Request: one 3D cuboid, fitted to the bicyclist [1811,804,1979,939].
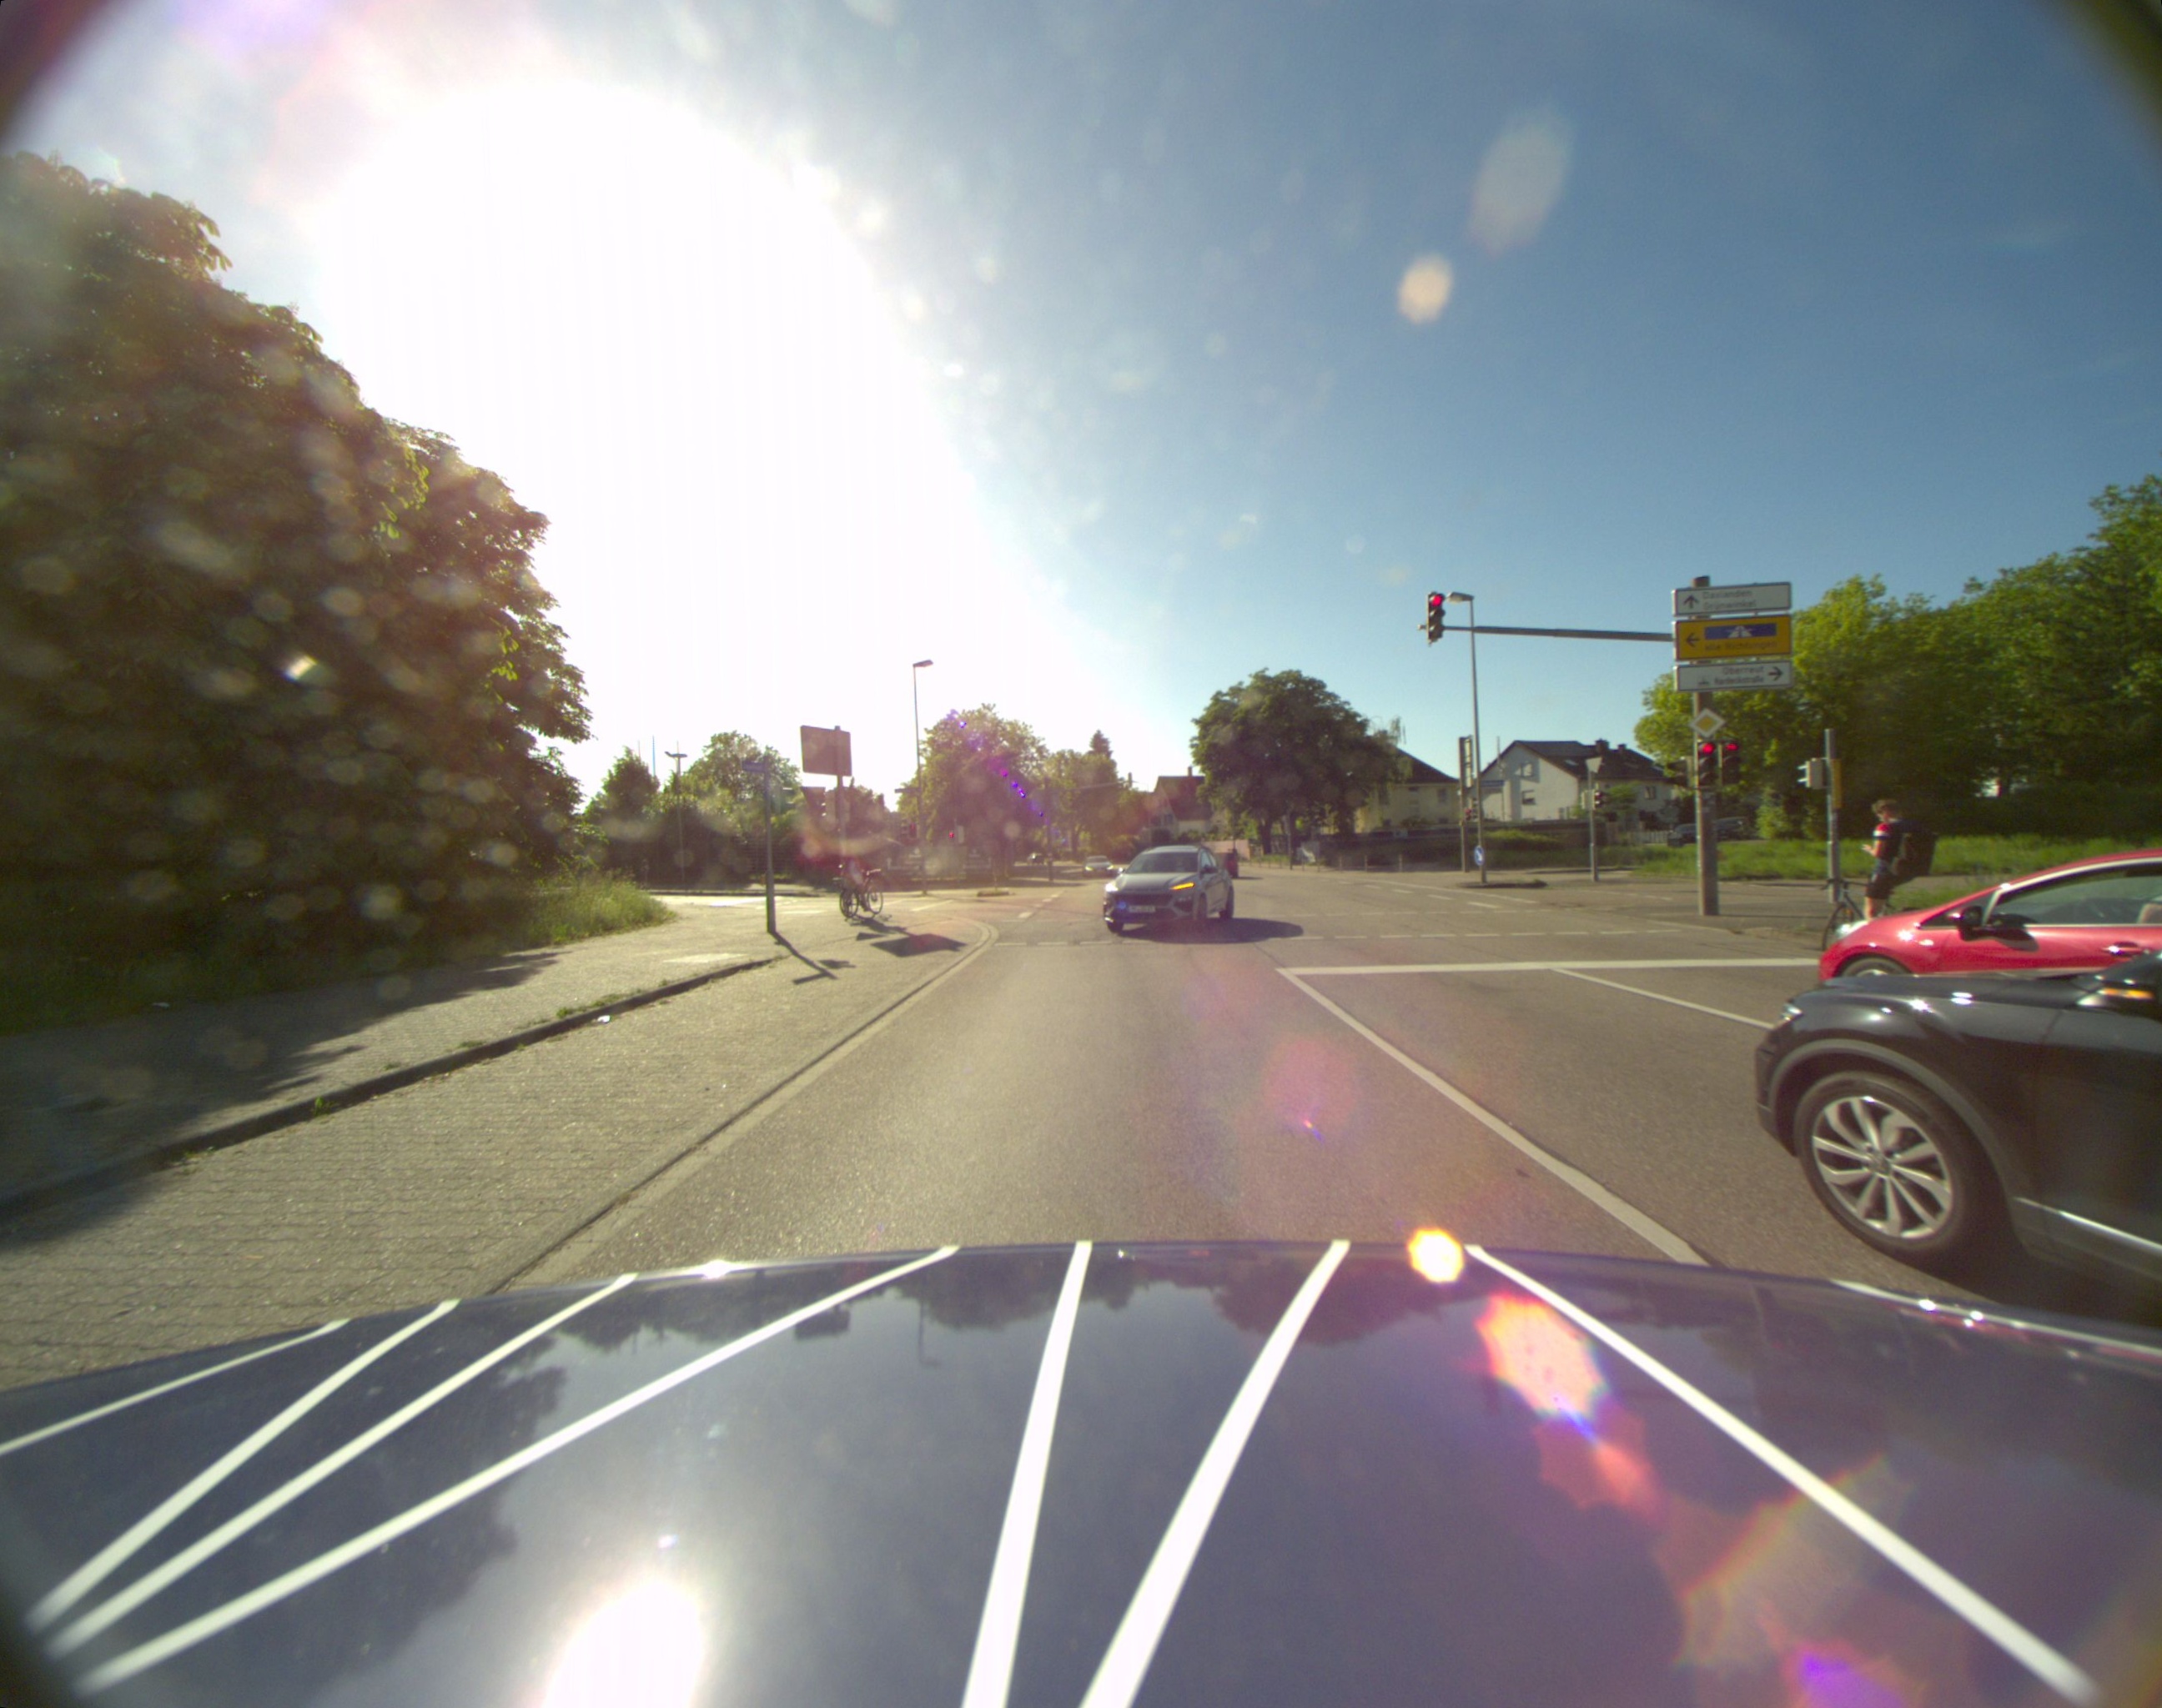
[{"bbox_3d":[9.063,0.192,8.502,0.935,1.393,0.822,-3,0,2],"label":"bicyclist"}]

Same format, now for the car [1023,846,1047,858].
[{"bbox_3d":[-6.916,-0.332,114.615,1.865,1.625,4.247,-2,0,-30],"label":"car"}]

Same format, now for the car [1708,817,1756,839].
[{"bbox_3d":[53.579,-2.146,62.520,4.006,1.656,1.959,-3,1,-34],"label":"car"}]

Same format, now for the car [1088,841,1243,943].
[{"bbox_3d":[1.836,0.649,15.100,1.712,1.636,4.061,-3,1,26],"label":"car"}]

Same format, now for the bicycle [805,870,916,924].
[{"bbox_3d":[-5.300,1.006,18.558,0.901,1.119,2.957,-3,0,22],"label":"bicycle"}]

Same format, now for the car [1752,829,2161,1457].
[{"bbox_3d":[3.673,0.726,1.104,1.917,1.590,4.000,-1,1,1],"label":"car"}]

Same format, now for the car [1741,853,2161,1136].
[{"bbox_3d":[6.570,0.741,4.613,1.788,1.406,3.890,-2,1,2],"label":"car"}]

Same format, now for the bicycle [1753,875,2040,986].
[{"bbox_3d":[9.096,0.800,8.673,0.939,1.011,2.197,-3,0,2],"label":"bicycle"}]

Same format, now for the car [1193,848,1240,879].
[{"bbox_3d":[7.097,0.446,40.129,1.862,1.461,4.138,-2,1,2],"label":"car"}]

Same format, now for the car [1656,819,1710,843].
[{"bbox_3d":[44.223,-1.695,55.787,4.006,1.547,1.995,-3,1,-35],"label":"car"}]

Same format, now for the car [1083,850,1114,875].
[{"bbox_3d":[1.171,0.549,51.939,1.809,1.523,4.513,-2,1,-2],"label":"car"}]

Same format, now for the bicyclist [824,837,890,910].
[{"bbox_3d":[-5.404,0.448,18.383,0.890,1.683,1.192,-3,0,22],"label":"bicyclist"}]
